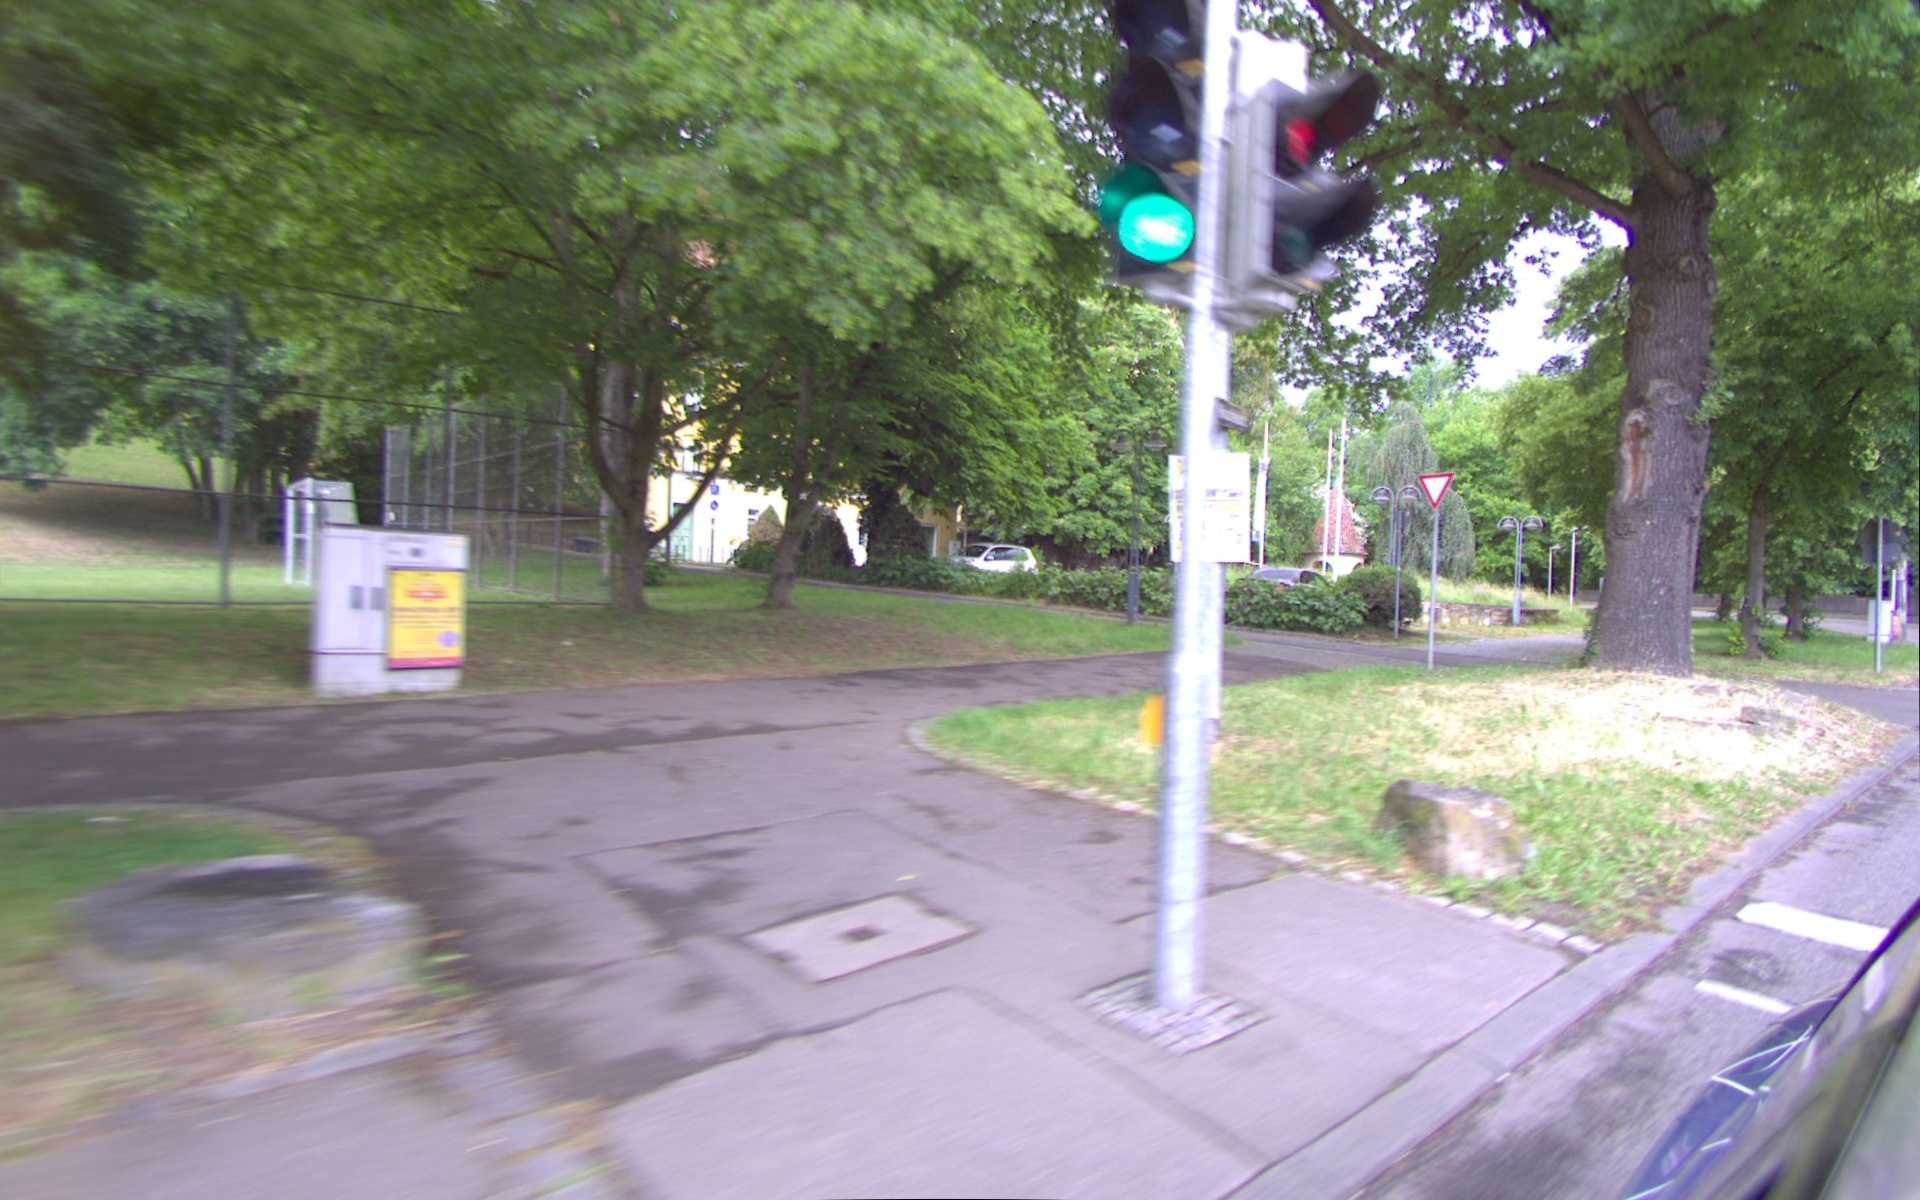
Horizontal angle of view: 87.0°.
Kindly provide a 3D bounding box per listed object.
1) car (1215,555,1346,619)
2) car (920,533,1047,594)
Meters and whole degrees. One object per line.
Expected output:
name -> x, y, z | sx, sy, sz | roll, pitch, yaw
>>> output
car -> 8.775, -0.315, 27.471 | 1.904, 1.449, 4.403 | 5, 1, 38
car -> 0.835, -1.237, 34.715 | 3.931, 1.670, 1.998 | 3, 3, -42
